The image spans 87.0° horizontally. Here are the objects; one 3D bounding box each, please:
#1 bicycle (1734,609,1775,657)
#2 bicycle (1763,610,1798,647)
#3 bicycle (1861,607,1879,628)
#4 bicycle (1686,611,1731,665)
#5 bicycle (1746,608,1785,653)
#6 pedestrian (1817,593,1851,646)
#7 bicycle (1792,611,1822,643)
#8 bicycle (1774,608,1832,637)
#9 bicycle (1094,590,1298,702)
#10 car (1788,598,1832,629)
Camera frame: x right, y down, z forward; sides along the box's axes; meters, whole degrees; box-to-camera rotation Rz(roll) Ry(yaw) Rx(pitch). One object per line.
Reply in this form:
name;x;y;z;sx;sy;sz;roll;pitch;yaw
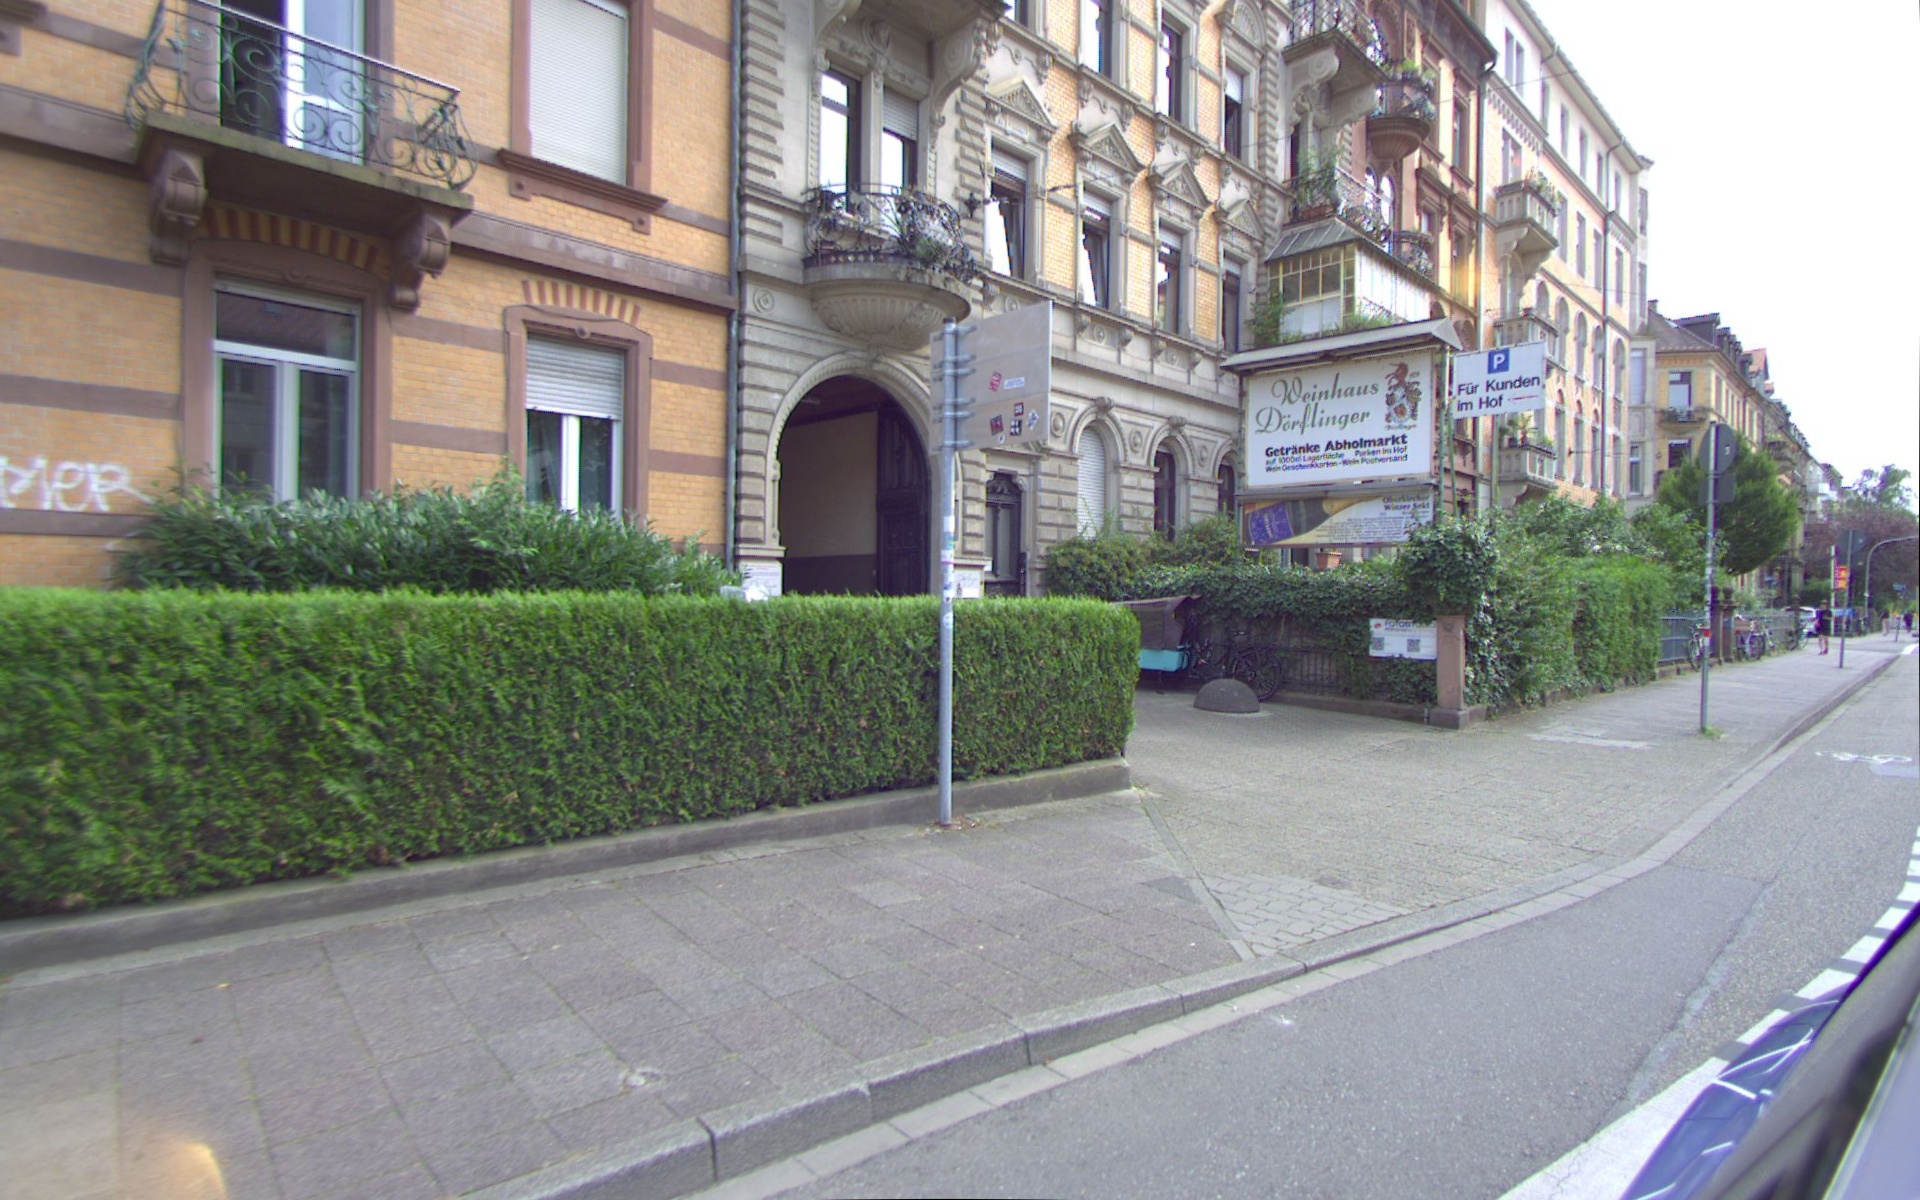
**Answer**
bicycle;20.188;0.820;25.699;0.579;1.125;1.645;6;4;44
bicycle;24.044;0.831;29.647;0.579;0.994;1.645;6;4;44
bicycle;50.942;0.970;56.652;1.843;1.127;0.629;0;0;-44
bicycle;16.348;0.808;22.090;0.579;1.126;1.645;1;0;44
bicycle;21.554;0.798;27.078;0.579;1.125;1.645;6;4;44
pedestrian;27.527;0.611;31.875;0.821;1.644;0.731;1;0;-45
bicycle;28.200;0.895;33.683;0.579;0.994;1.645;6;4;44
bicycle;34.125;0.892;40.986;1.838;1.127;0.631;1;0;-1
bicycle;3.072;0.549;13.440;2.624;1.328;0.758;1;0;44
car;45.396;0.706;54.102;1.749;1.544;3.942;1;1;40
